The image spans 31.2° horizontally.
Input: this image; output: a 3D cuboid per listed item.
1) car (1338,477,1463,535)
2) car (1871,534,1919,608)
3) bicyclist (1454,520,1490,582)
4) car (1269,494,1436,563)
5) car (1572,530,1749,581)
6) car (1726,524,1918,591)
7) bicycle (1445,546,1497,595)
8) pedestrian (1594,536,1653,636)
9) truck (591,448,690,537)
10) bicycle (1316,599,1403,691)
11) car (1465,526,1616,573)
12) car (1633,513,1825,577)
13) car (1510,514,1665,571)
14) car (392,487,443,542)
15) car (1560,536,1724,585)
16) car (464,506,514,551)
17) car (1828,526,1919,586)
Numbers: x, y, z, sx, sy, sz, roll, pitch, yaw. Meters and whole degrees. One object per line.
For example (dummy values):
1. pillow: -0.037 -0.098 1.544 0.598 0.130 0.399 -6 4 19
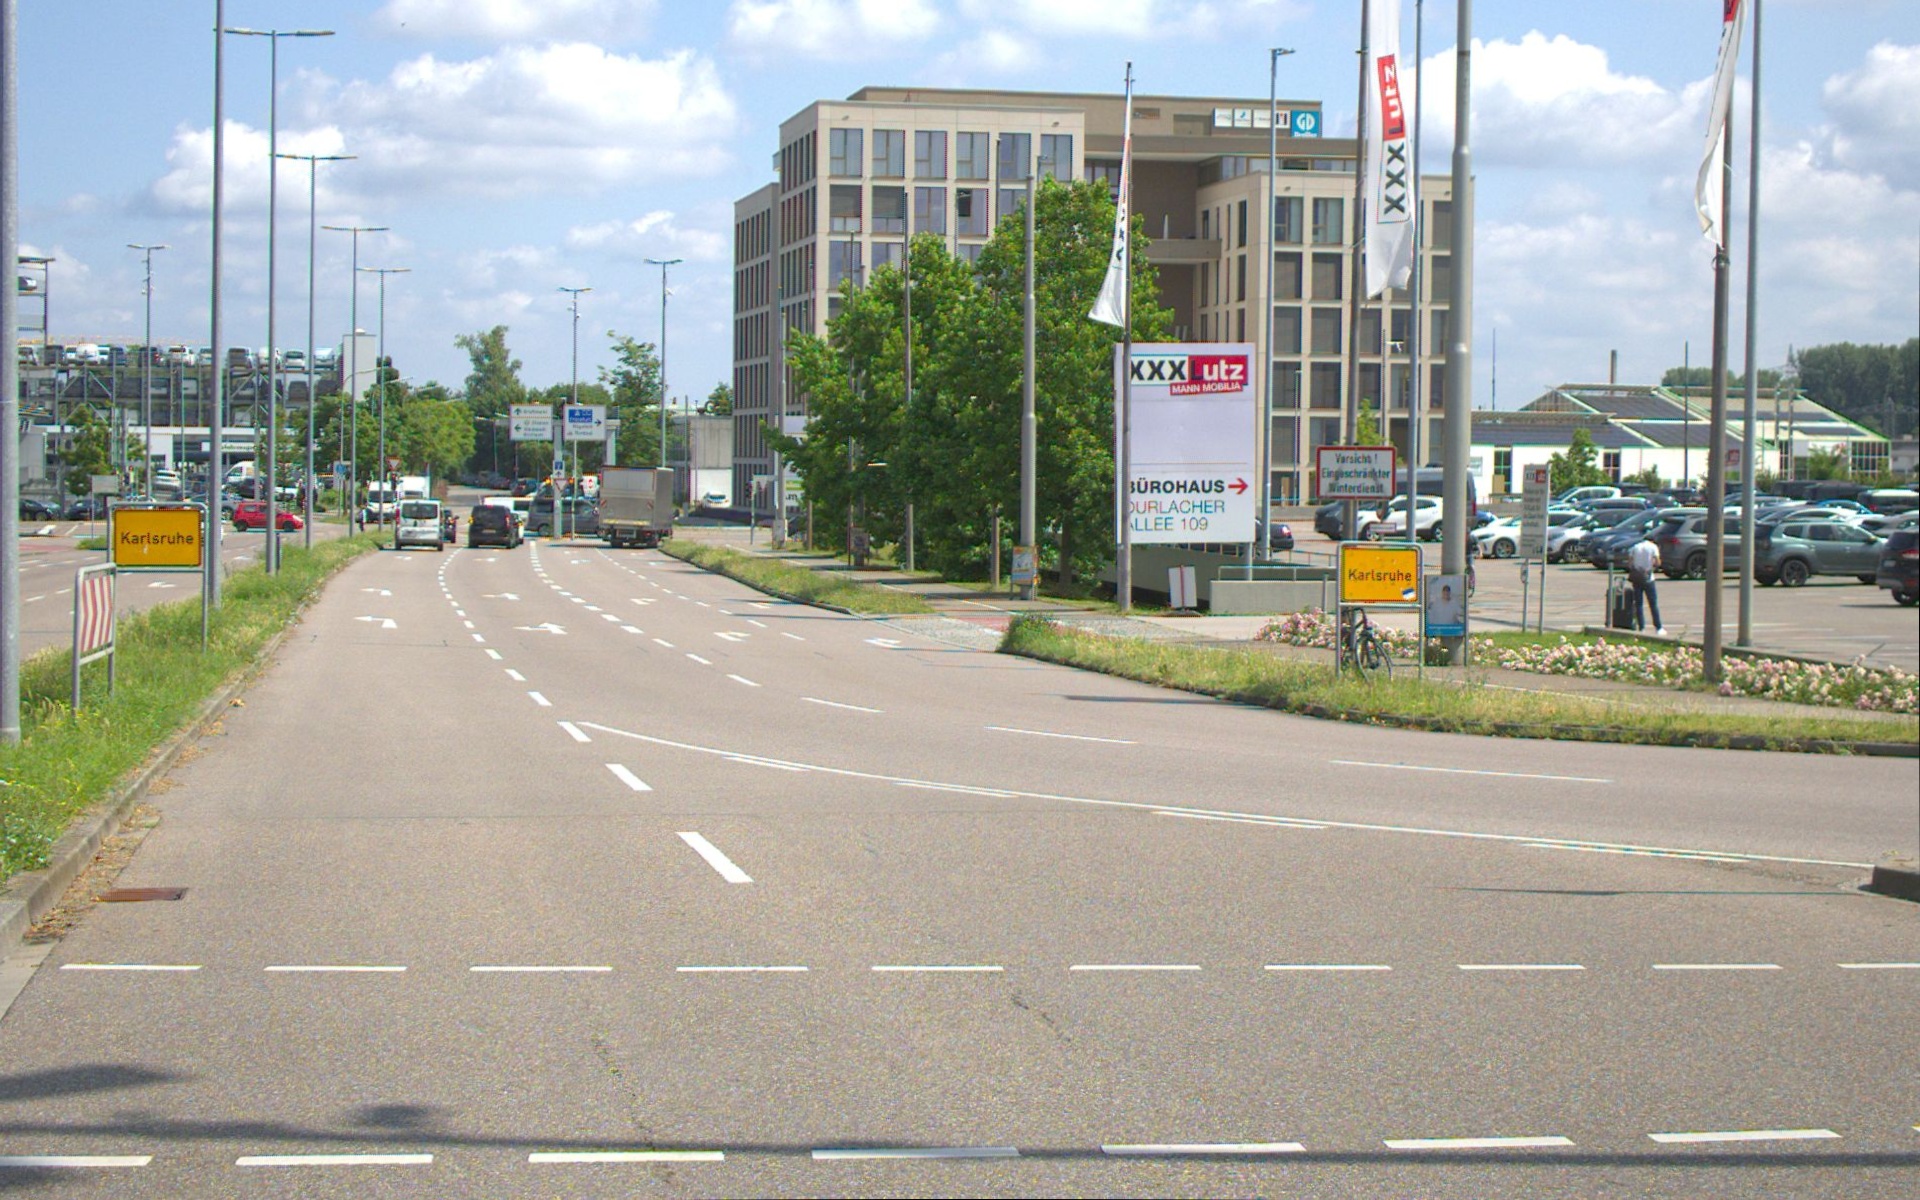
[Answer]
1. car: 15.515 -3.334 121.180 3.986 2.006 2.001 0 2 -9
2. car: 21.699 -0.634 73.269 4.052 1.526 1.743 -1 2 -13
3. bicyclist: 11.796 -1.140 79.256 0.615 1.408 0.715 1 2 -9
4. car: 14.410 -2.633 126.252 5.657 2.358 2.062 1 1 -11
5. car: 19.023 -1.218 93.444 4.357 1.320 1.765 0 2 -11
6. car: 21.030 -1.048 83.971 4.181 1.547 1.765 0 2 -11
7. bicycle: 11.790 -0.684 79.318 0.623 1.064 1.968 0 2 -9
8. pedestrian: 12.082 -0.259 62.632 0.870 1.776 0.783 2 2 21
9. truck: -14.835 -5.015 160.390 3.130 3.927 8.858 2 2 4
10. bicycle: 4.392 0.487 37.895 0.517 0.949 1.544 1 1 -10
11. car: 17.925 -1.560 106.281 4.182 1.384 1.894 -1 2 -12
12. car: 19.700 -1.414 88.171 4.357 1.568 2.031 0 2 -11
13. car: 18.489 -1.700 101.338 3.986 1.565 2.001 1 1 -11
14. car: -21.042 -3.328 133.358 1.855 2.011 4.001 2 2 -9
15. car: 19.123 -1.125 96.408 4.182 1.320 1.688 0 2 -9
16. car: -19.890 -3.050 145.297 1.819 1.802 4.001 2 1 -4
17. car: 25.013 -1.128 89.543 4.238 1.459 1.761 1 2 -10
